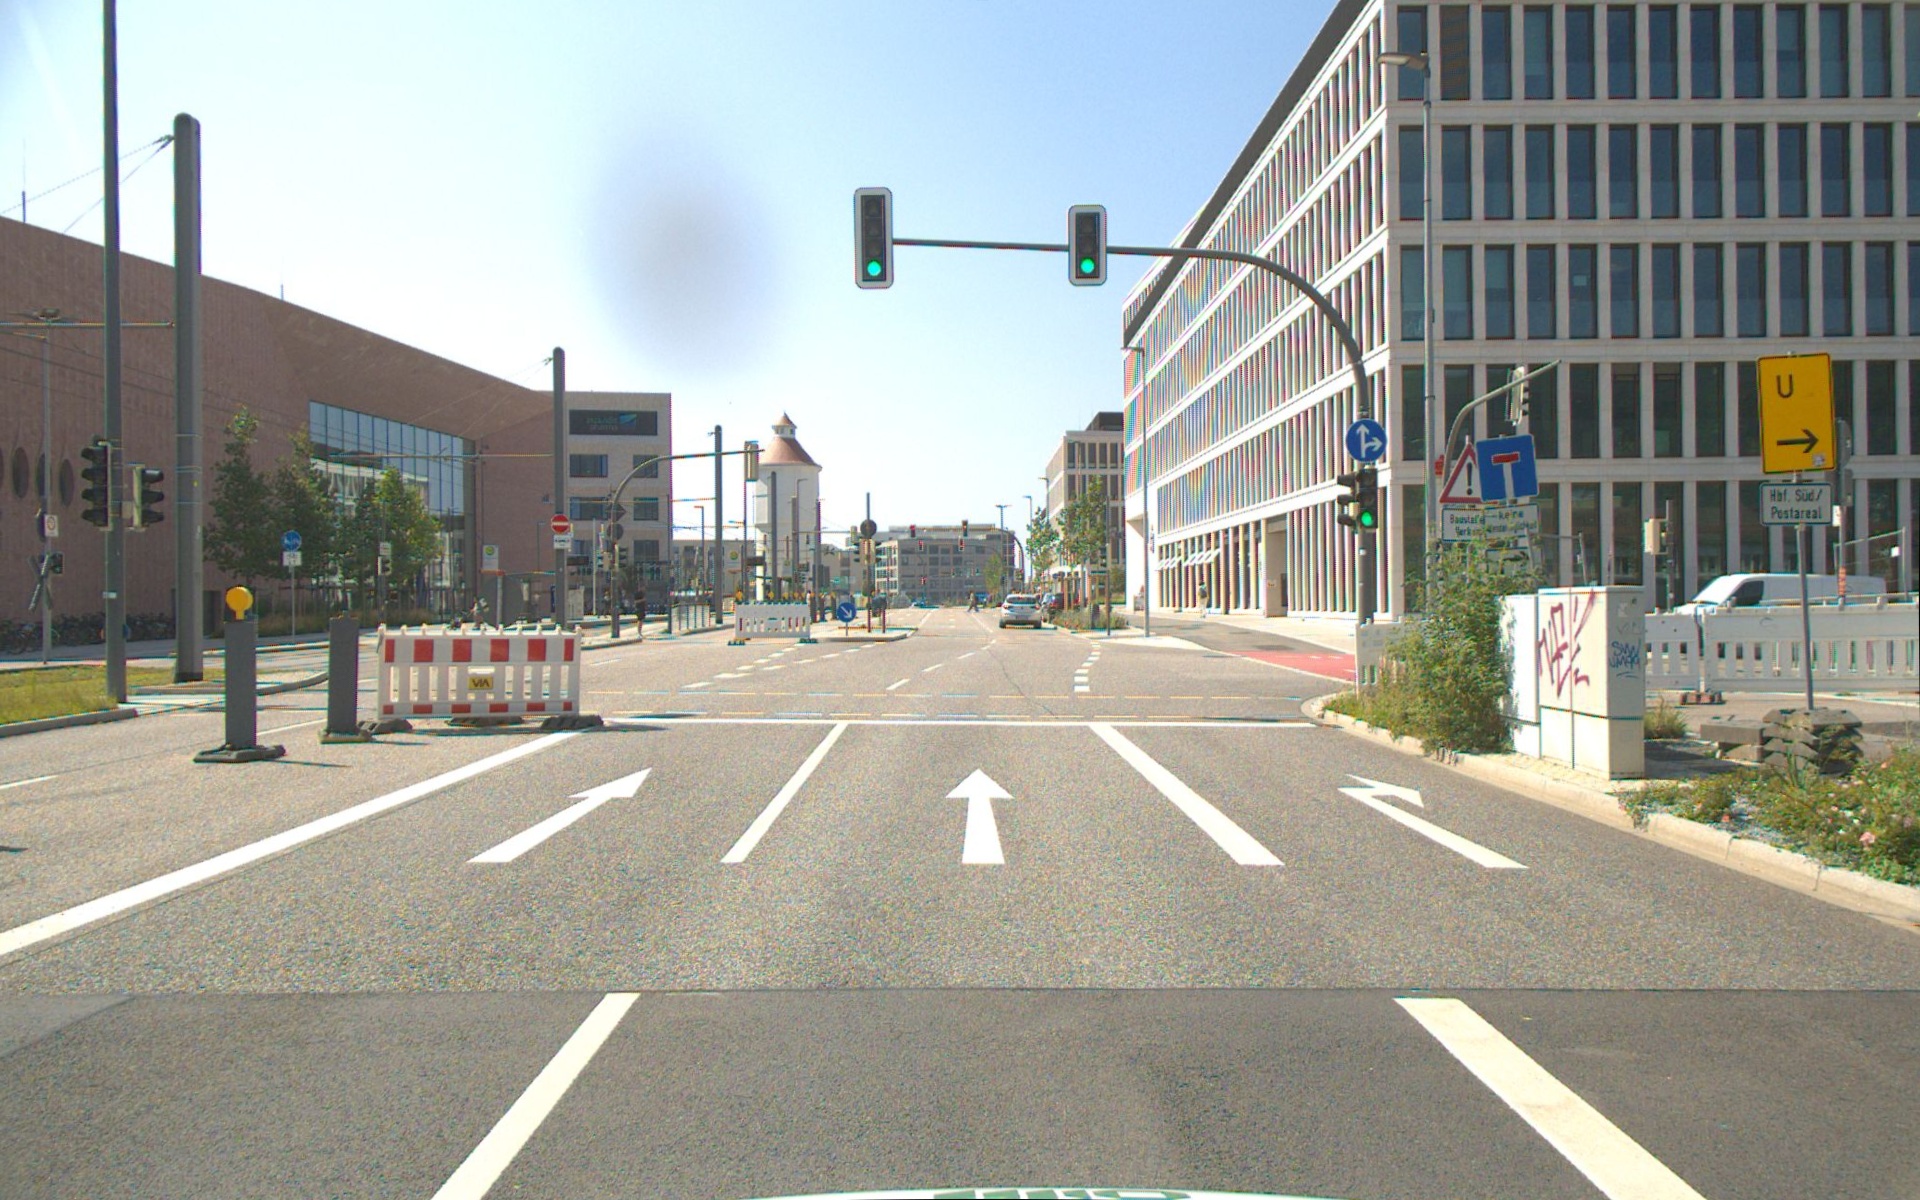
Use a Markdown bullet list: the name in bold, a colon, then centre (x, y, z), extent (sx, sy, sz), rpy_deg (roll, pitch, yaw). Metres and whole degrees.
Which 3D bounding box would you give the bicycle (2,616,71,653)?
- **bicycle**: centre (-31.782, 1.189, 56.939), extent (2.014, 1.233, 0.538), rpy_deg (0, 0, -11)

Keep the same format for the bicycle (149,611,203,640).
- **bicycle**: centre (-33.526, 1.096, 70.749), extent (2.014, 1.233, 0.538), rpy_deg (0, 0, -11)

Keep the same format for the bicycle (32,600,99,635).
- **bicycle**: centre (-31.992, 0.631, 59.184), extent (2.014, 1.233, 0.538), rpy_deg (0, 0, -11)

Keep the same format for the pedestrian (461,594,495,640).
- **pedestrian**: centre (-16.970, 0.601, 58.212), extent (0.923, 1.590, 0.783), rpy_deg (0, 0, -38)

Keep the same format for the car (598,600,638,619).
- **car**: centre (-34.269, 0.931, 165.817), extent (3.872, 1.848, 1.792), rpy_deg (0, -1, -13)

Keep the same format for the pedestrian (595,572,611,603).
- **pedestrian**: centre (-21.911, -0.758, 101.416), extent (0.794, 1.852, 0.825), rpy_deg (0, 0, 0)

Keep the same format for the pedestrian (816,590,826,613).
- **pedestrian**: centre (-10.855, 0.104, 129.171), extent (0.750, 1.764, 0.692), rpy_deg (-1, 0, 0)

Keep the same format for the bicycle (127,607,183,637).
- **bicycle**: centre (-33.648, 0.926, 69.122), extent (2.014, 1.233, 0.538), rpy_deg (0, 0, -11)

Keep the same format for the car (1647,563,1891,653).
- **car**: centre (22.449, 0.212, 46.080), extent (5.717, 2.310, 2.146), rpy_deg (2, 0, 0)

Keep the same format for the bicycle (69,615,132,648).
- **bicycle**: centre (-32.567, 1.190, 62.690), extent (2.014, 1.233, 0.538), rpy_deg (0, 0, -11)

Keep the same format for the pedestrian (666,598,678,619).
- **pedestrian**: centre (-22.128, 0.656, 127.109), extent (0.696, 1.599, 0.890), rpy_deg (-1, 0, -1)

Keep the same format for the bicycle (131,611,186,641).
- **bicycle**: centre (-33.757, 1.098, 69.702), extent (2.014, 1.233, 0.538), rpy_deg (0, 0, -11)

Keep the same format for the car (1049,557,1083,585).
- **car**: centre (5.709, -1.544, 89.358), extent (1.572, 1.412, 3.814), rpy_deg (1, 0, 0)

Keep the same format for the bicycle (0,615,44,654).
- **bicycle**: centre (-30.626, 1.115, 53.129), extent (2.015, 1.233, 0.538), rpy_deg (0, 0, -13)

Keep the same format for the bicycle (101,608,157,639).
- **bicycle**: centre (-33.192, 0.940, 66.113), extent (1.848, 1.233, 0.746), rpy_deg (0, 0, -7)

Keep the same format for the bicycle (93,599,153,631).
- **bicycle**: centre (-32.781, 0.585, 64.820), extent (2.014, 1.233, 0.538), rpy_deg (0, 0, -11)

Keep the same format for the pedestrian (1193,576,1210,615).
- **pedestrian**: centre (11.215, -0.207, 76.778), extent (0.615, 1.773, 0.814), rpy_deg (-1, 0, 0)

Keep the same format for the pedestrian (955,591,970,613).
- **pedestrian**: centre (0.173, 0.164, 131.506), extent (0.880, 1.703, 1.008), rpy_deg (-1, 0, -19)

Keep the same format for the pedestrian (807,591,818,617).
- **pedestrian**: centre (-11.229, 0.288, 126.120), extent (0.750, 1.923, 0.692), rpy_deg (-1, 0, 0)

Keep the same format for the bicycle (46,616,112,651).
- **bicycle**: centre (-32.152, 1.217, 60.381), extent (2.014, 1.233, 0.538), rpy_deg (0, 0, -11)

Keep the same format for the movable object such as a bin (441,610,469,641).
- **movable object such as a bin**: centre (-17.613, 0.876, 57.699), extent (0.707, 1.050, 0.783), rpy_deg (0, 0, -37)

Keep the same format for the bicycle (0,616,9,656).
- **bicycle**: centre (-30.507, 1.117, 50.937), extent (2.014, 1.233, 0.538), rpy_deg (0, 0, -11)

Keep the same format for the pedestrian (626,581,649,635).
- **pedestrian**: centre (-11.230, 0.262, 57.608), extent (0.639, 1.865, 0.661), rpy_deg (0, 0, 4)

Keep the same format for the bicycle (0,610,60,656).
- **bicycle**: centre (-31.027, 1.093, 54.838), extent (2.014, 1.478, 0.538), rpy_deg (0, 0, -11)

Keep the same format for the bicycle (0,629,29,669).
- **bicycle**: centre (-30.467, 1.550, 52.003), extent (2.014, 1.233, 0.538), rpy_deg (0, 0, -11)

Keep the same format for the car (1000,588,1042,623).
- **car**: centre (2.619, 0.251, 71.438), extent (1.735, 1.419, 3.532), rpy_deg (1, -1, 1)

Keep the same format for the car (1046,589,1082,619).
- **car**: centre (5.304, 0.224, 84.023), extent (1.700, 1.500, 3.982), rpy_deg (0, 0, 5)

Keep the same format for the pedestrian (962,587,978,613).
- **pedestrian**: centre (0.803, -0.024, 132.898), extent (1.004, 2.049, 0.949), rpy_deg (-1, 0, -19)
